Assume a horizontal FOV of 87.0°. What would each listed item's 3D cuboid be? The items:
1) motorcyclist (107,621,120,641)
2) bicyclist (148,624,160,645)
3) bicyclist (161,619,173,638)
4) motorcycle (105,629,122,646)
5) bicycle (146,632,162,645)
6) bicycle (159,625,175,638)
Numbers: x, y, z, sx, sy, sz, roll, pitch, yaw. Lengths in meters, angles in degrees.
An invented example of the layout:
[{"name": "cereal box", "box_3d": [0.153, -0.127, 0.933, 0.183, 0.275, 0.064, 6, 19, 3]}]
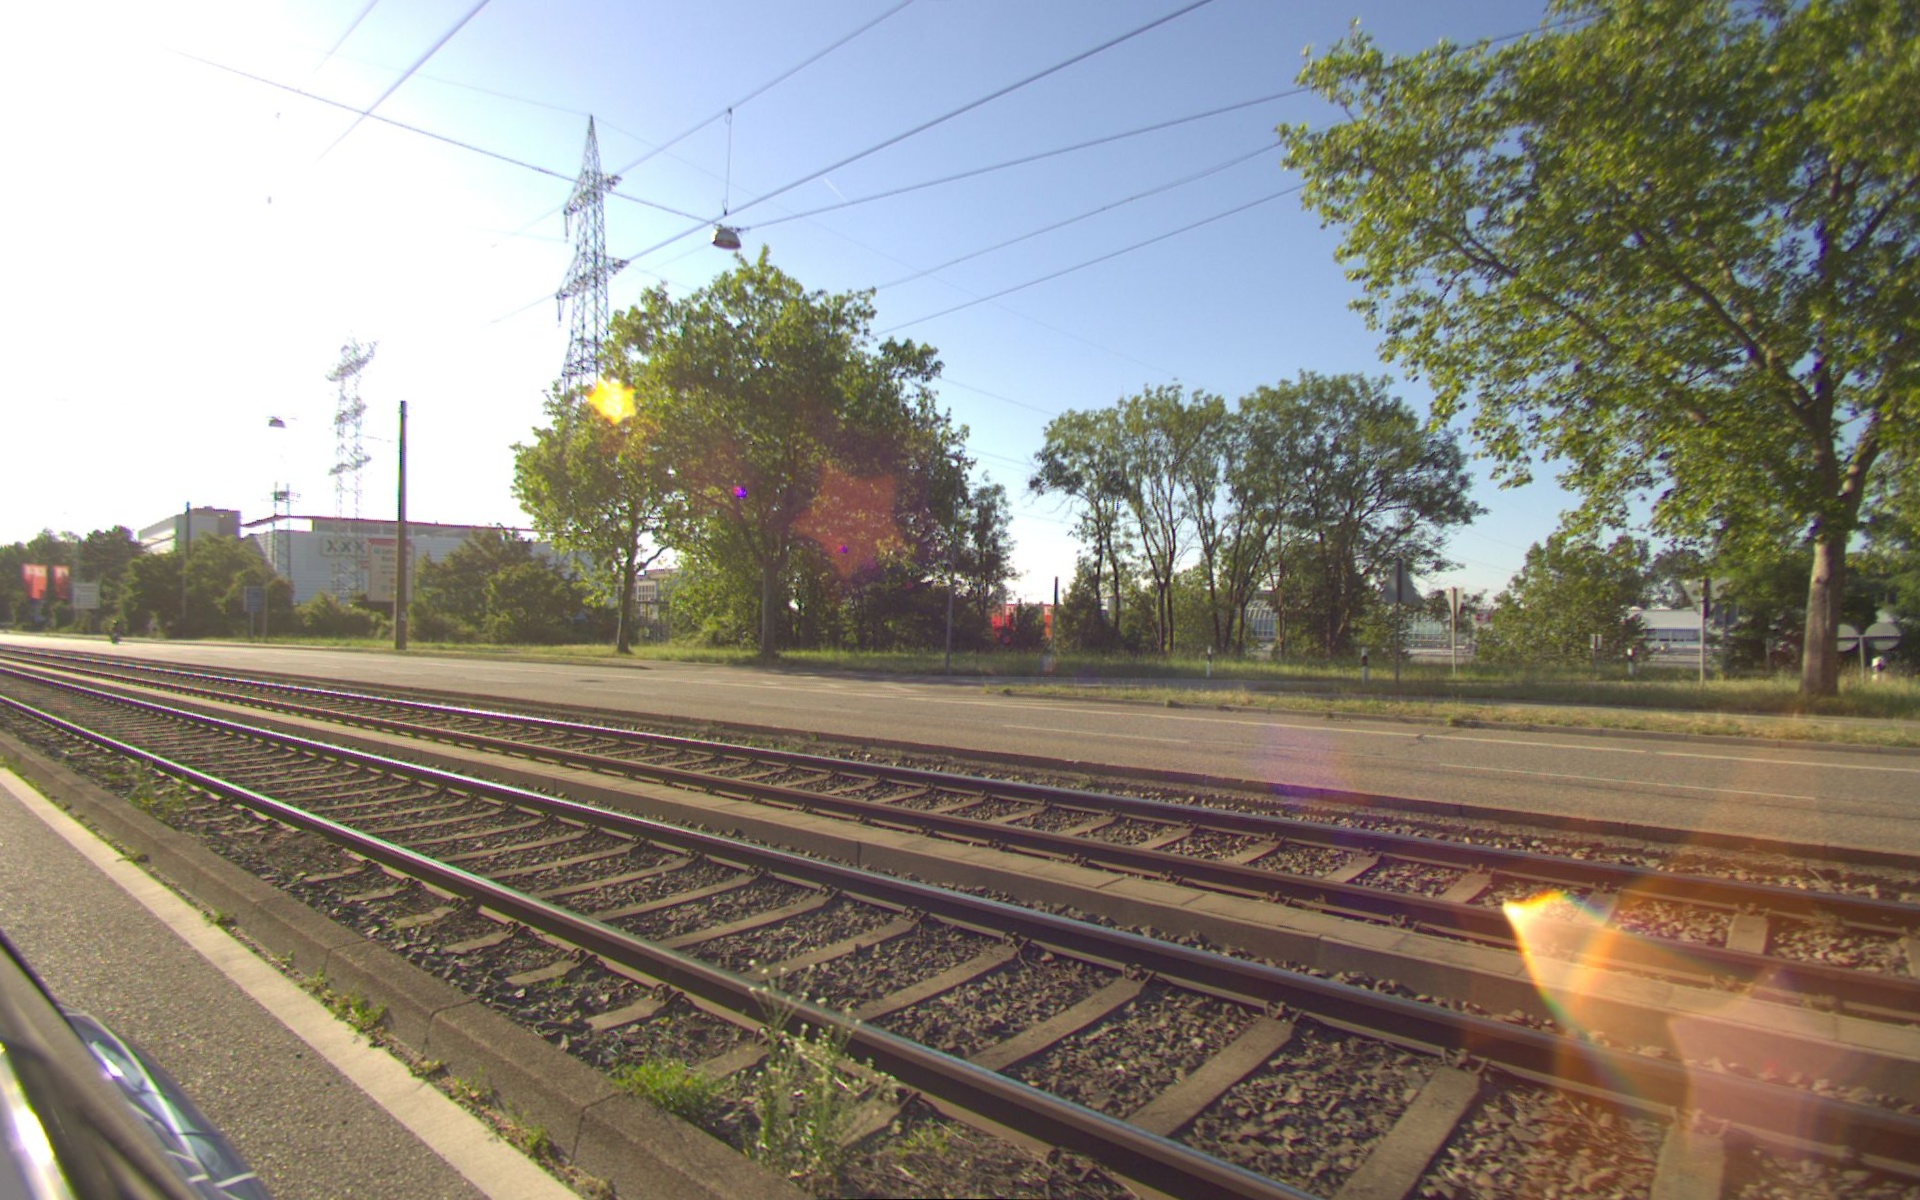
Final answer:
[{"name": "motorcyclist", "box_3d": [-57.277, 2.105, 68.487, 0.804, 1.280, 0.530, -1, 1, 41]}, {"name": "bicyclist", "box_3d": [-64.889, 2.760, 81.462, 0.966, 1.623, 0.584, -1, -2, 40]}, {"name": "bicyclist", "box_3d": [-64.932, 2.349, 82.876, 0.905, 1.540, 0.584, -1, -2, 40]}, {"name": "motorcycle", "box_3d": [-57.314, 2.503, 68.514, 1.901, 1.099, 0.530, -1, 1, 41]}, {"name": "bicycle", "box_3d": [-64.967, 3.069, 81.534, 2.184, 1.029, 0.584, -1, -2, 41]}, {"name": "bicycle", "box_3d": [-64.946, 2.590, 82.888, 2.184, 1.029, 0.584, -1, -2, 41]}]
